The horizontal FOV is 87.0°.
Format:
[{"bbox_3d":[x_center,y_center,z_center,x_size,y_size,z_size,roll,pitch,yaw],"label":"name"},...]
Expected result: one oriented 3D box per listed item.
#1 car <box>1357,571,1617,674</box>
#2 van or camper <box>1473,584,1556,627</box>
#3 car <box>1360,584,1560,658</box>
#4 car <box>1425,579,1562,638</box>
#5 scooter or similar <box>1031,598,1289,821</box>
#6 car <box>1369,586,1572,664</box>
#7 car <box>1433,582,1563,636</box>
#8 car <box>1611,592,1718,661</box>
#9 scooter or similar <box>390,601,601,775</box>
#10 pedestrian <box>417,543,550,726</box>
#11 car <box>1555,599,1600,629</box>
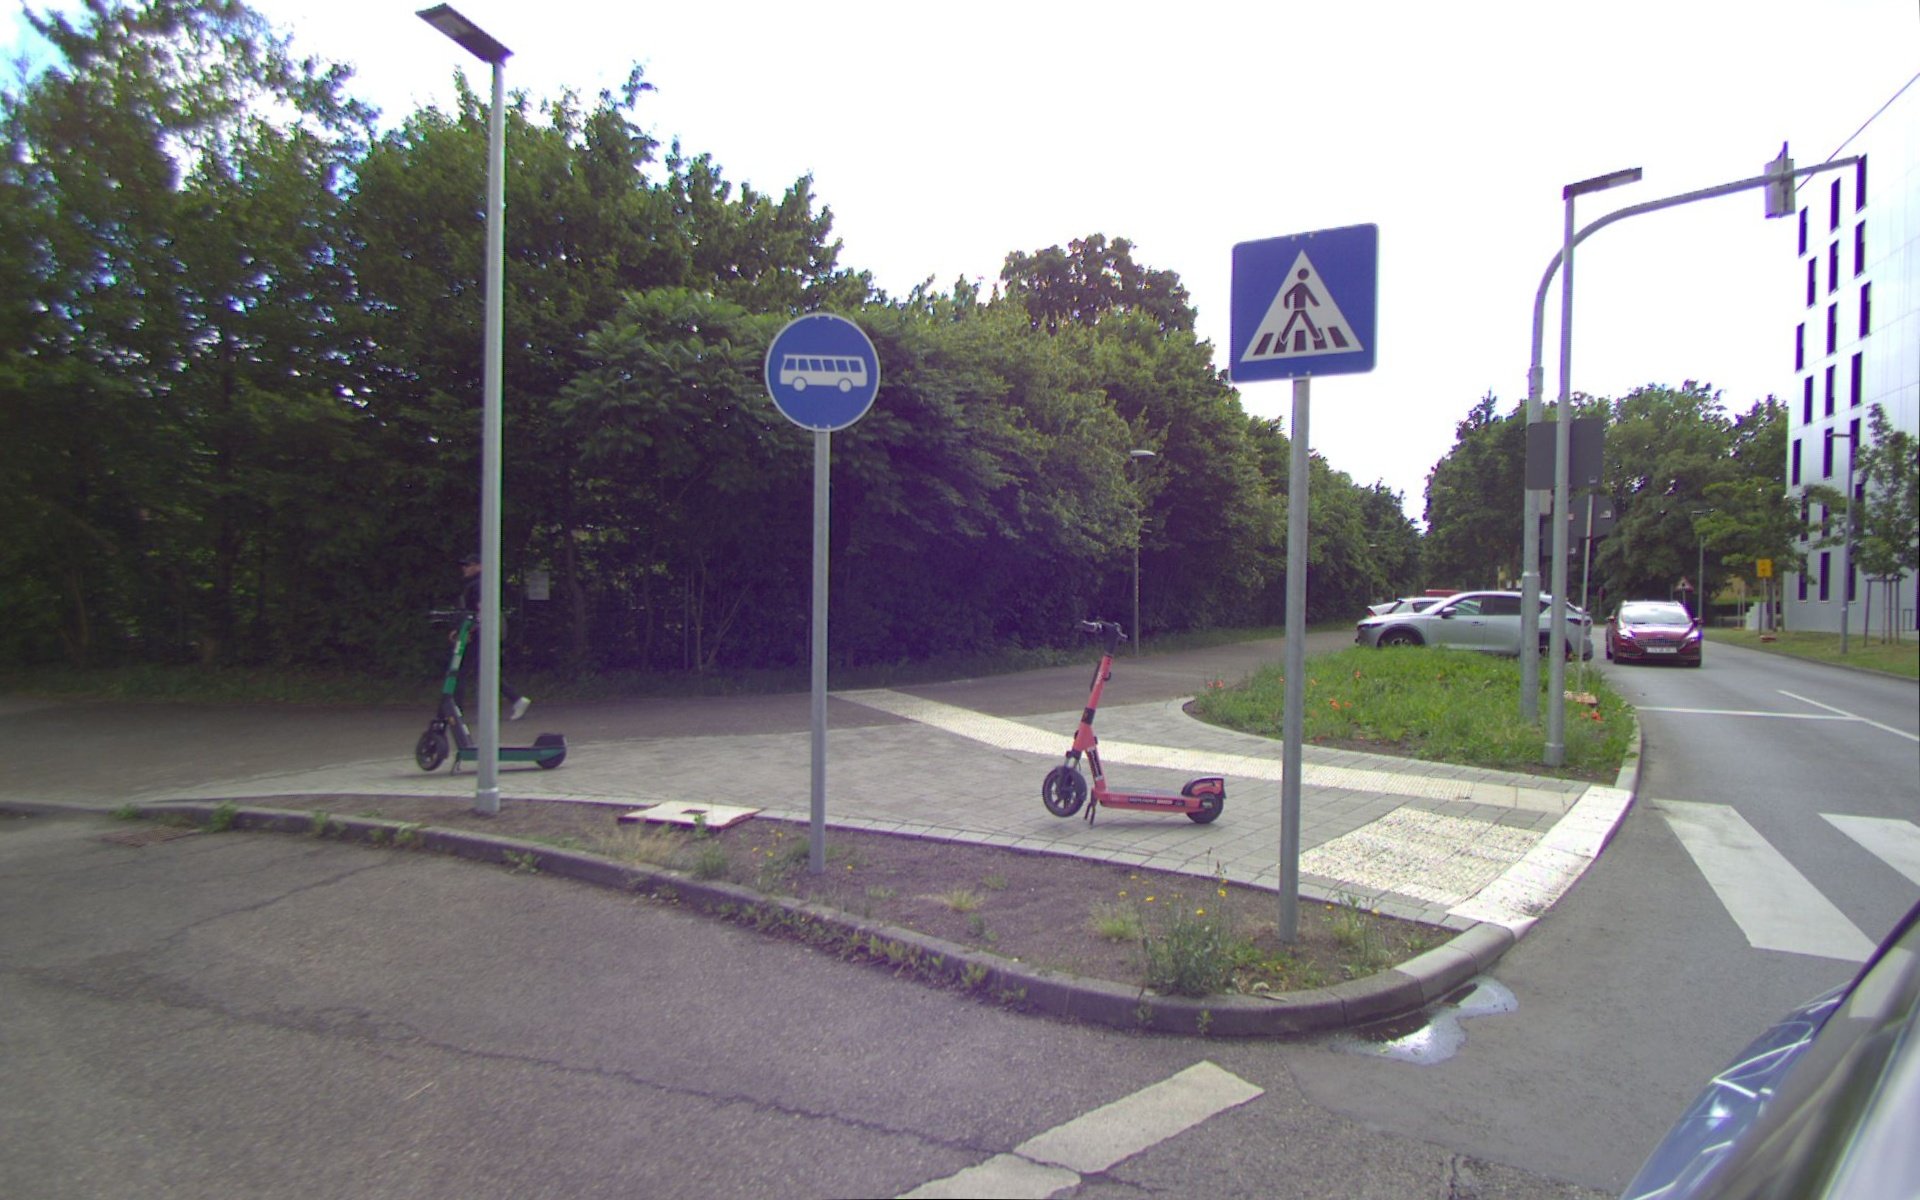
[{"bbox_3d":[11.039,0.408,21.525,4.619,1.774,2.051,4,1,27],"label":"car"},{"bbox_3d":[30.883,0.320,56.493,3.945,2.349,1.865,-1,-1,29],"label":"van or camper"},{"bbox_3d":[12.888,0.485,26.249,4.452,1.581,1.892,3,1,29],"label":"car"},{"bbox_3d":[19.409,0.270,36.943,4.256,1.916,1.819,2,1,29],"label":"car"},{"bbox_3d":[1.237,0.666,6.420,1.496,1.329,0.572,1,0,-1],"label":"scooter or similar"},{"bbox_3d":[12.027,0.533,24.026,4.131,1.606,1.778,2,1,29],"label":"car"},{"bbox_3d":[22.029,0.333,41.598,4.525,1.922,1.865,4,1,29],"label":"car"},{"bbox_3d":[18.417,0.617,26.629,1.918,1.652,4.198,-1,0,30],"label":"car"},{"bbox_3d":[-3.698,0.671,8.175,1.464,1.291,0.623,-1,0,-16],"label":"scooter or similar"},{"bbox_3d":[-5.021,0.343,10.722,0.967,1.845,0.856,1,0,5],"label":"pedestrian"},{"bbox_3d":[37.573,0.809,61.656,1.800,1.638,3.965,3,1,25],"label":"car"}]
